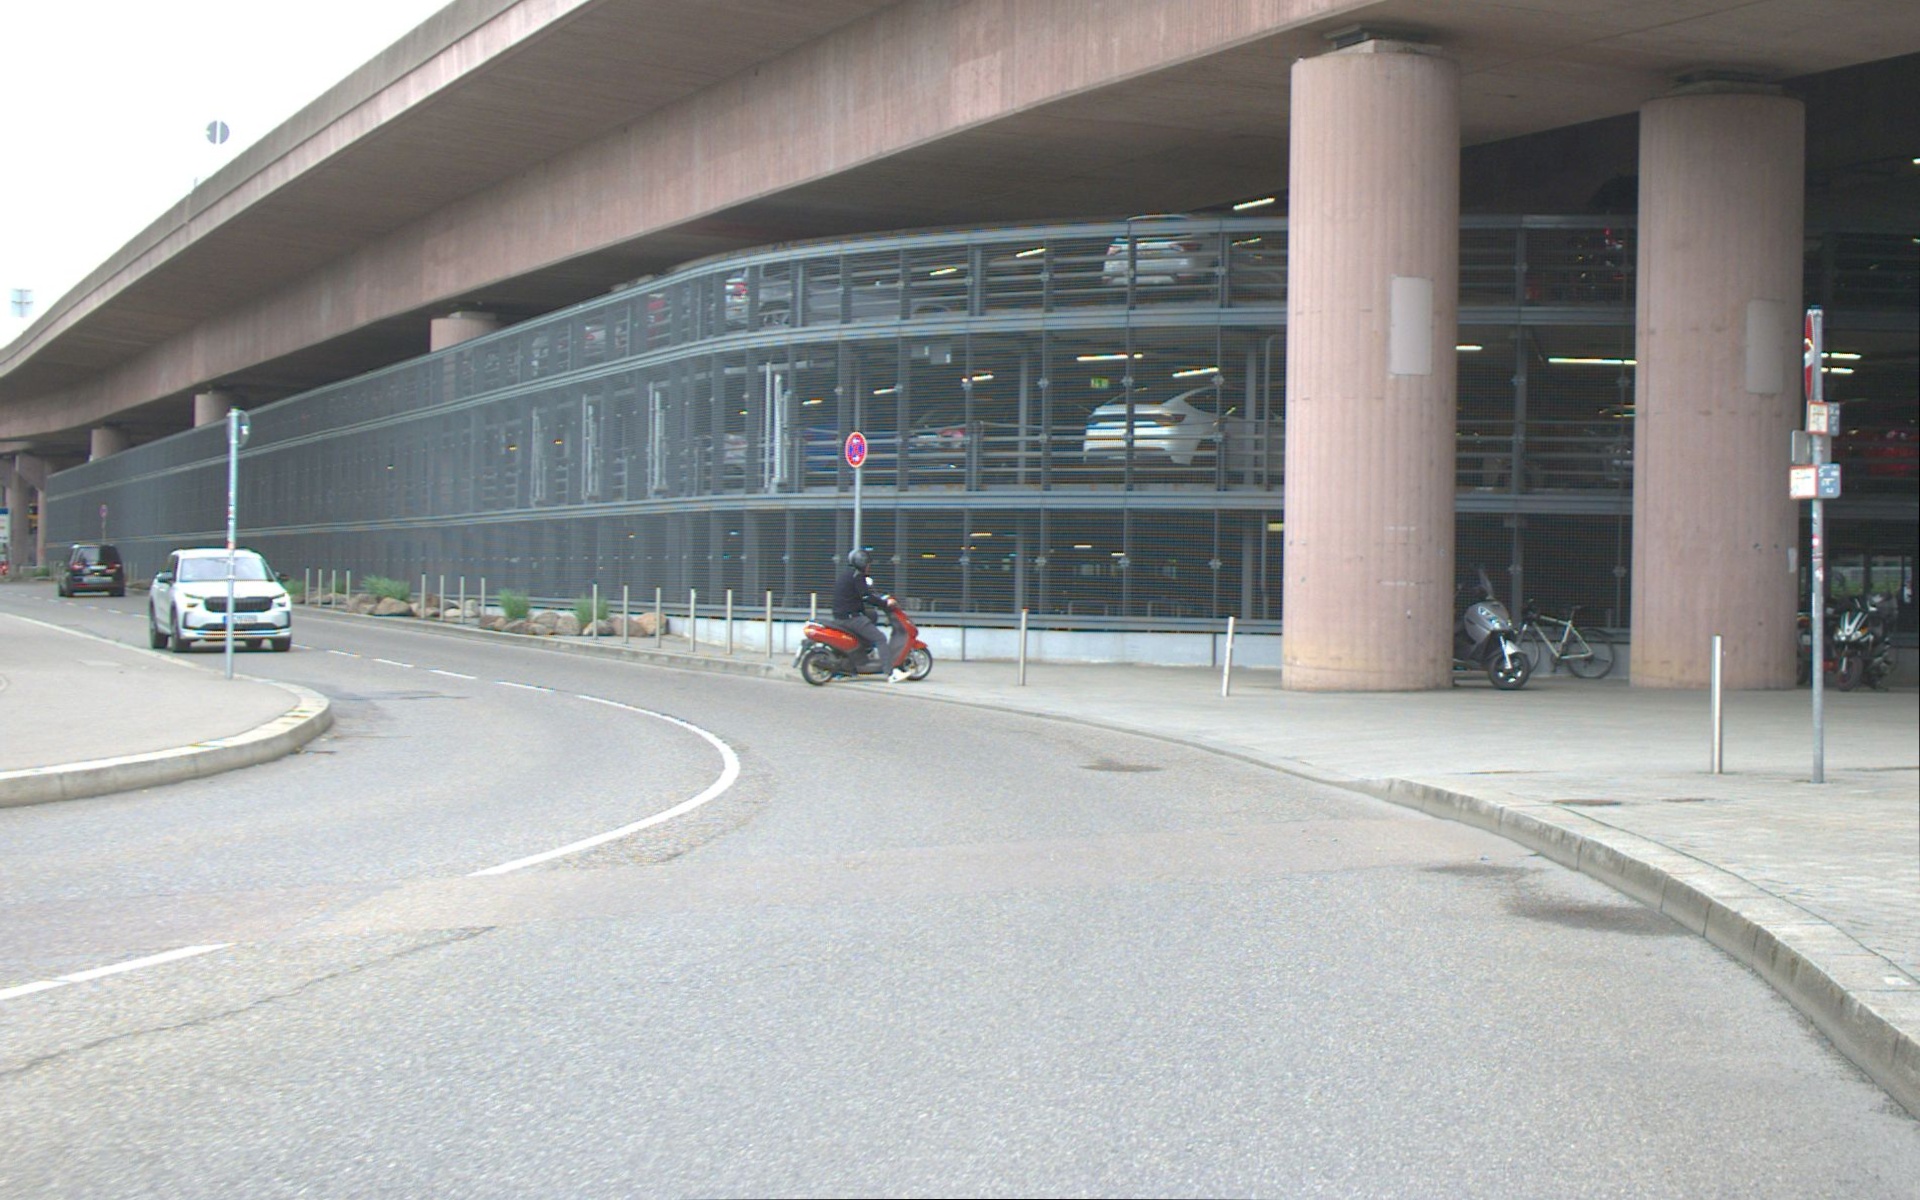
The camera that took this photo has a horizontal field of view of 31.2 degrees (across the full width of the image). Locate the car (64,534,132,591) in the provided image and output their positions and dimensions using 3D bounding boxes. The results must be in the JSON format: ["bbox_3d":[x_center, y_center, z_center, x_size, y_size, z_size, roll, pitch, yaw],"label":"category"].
[{"bbox_3d":[-28.064,-1.229,111.871,1.839,1.705,3.707,0,2,-19],"label":"car"}]

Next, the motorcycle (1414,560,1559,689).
[{"bbox_3d":[6.286,0.278,41.093,0.642,1.450,1.762,0,2,-35],"label":"motorcycle"}]

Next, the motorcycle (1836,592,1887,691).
[{"bbox_3d":[10.913,0.510,41.607,0.521,1.167,1.149,2,-1,17],"label":"motorcycle"}]

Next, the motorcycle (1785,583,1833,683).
[{"bbox_3d":[10.900,0.416,44.138,0.520,1.216,1.150,1,2,11],"label":"motorcycle"}]

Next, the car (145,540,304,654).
[{"bbox_3d":[-12.038,-0.080,56.111,1.864,1.677,4.407,0,2,-21],"label":"car"}]

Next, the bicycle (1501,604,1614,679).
[{"bbox_3d":[8.172,0.564,47.044,1.472,0.973,0.451,1,2,7],"label":"bicycle"}]

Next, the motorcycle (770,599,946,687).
[{"bbox_3d":[-1.220,0.512,41.149,1.949,1.019,0.749,0,2,-20],"label":"motorcycle"}]

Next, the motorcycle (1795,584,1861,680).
[{"bbox_3d":[11.469,0.412,45.445,0.520,1.216,1.150,1,2,-1],"label":"motorcycle"}]

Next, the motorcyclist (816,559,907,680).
[{"bbox_3d":[-1.183,0.230,41.166,0.867,1.414,0.764,0,2,-21],"label":"motorcyclist"}]
